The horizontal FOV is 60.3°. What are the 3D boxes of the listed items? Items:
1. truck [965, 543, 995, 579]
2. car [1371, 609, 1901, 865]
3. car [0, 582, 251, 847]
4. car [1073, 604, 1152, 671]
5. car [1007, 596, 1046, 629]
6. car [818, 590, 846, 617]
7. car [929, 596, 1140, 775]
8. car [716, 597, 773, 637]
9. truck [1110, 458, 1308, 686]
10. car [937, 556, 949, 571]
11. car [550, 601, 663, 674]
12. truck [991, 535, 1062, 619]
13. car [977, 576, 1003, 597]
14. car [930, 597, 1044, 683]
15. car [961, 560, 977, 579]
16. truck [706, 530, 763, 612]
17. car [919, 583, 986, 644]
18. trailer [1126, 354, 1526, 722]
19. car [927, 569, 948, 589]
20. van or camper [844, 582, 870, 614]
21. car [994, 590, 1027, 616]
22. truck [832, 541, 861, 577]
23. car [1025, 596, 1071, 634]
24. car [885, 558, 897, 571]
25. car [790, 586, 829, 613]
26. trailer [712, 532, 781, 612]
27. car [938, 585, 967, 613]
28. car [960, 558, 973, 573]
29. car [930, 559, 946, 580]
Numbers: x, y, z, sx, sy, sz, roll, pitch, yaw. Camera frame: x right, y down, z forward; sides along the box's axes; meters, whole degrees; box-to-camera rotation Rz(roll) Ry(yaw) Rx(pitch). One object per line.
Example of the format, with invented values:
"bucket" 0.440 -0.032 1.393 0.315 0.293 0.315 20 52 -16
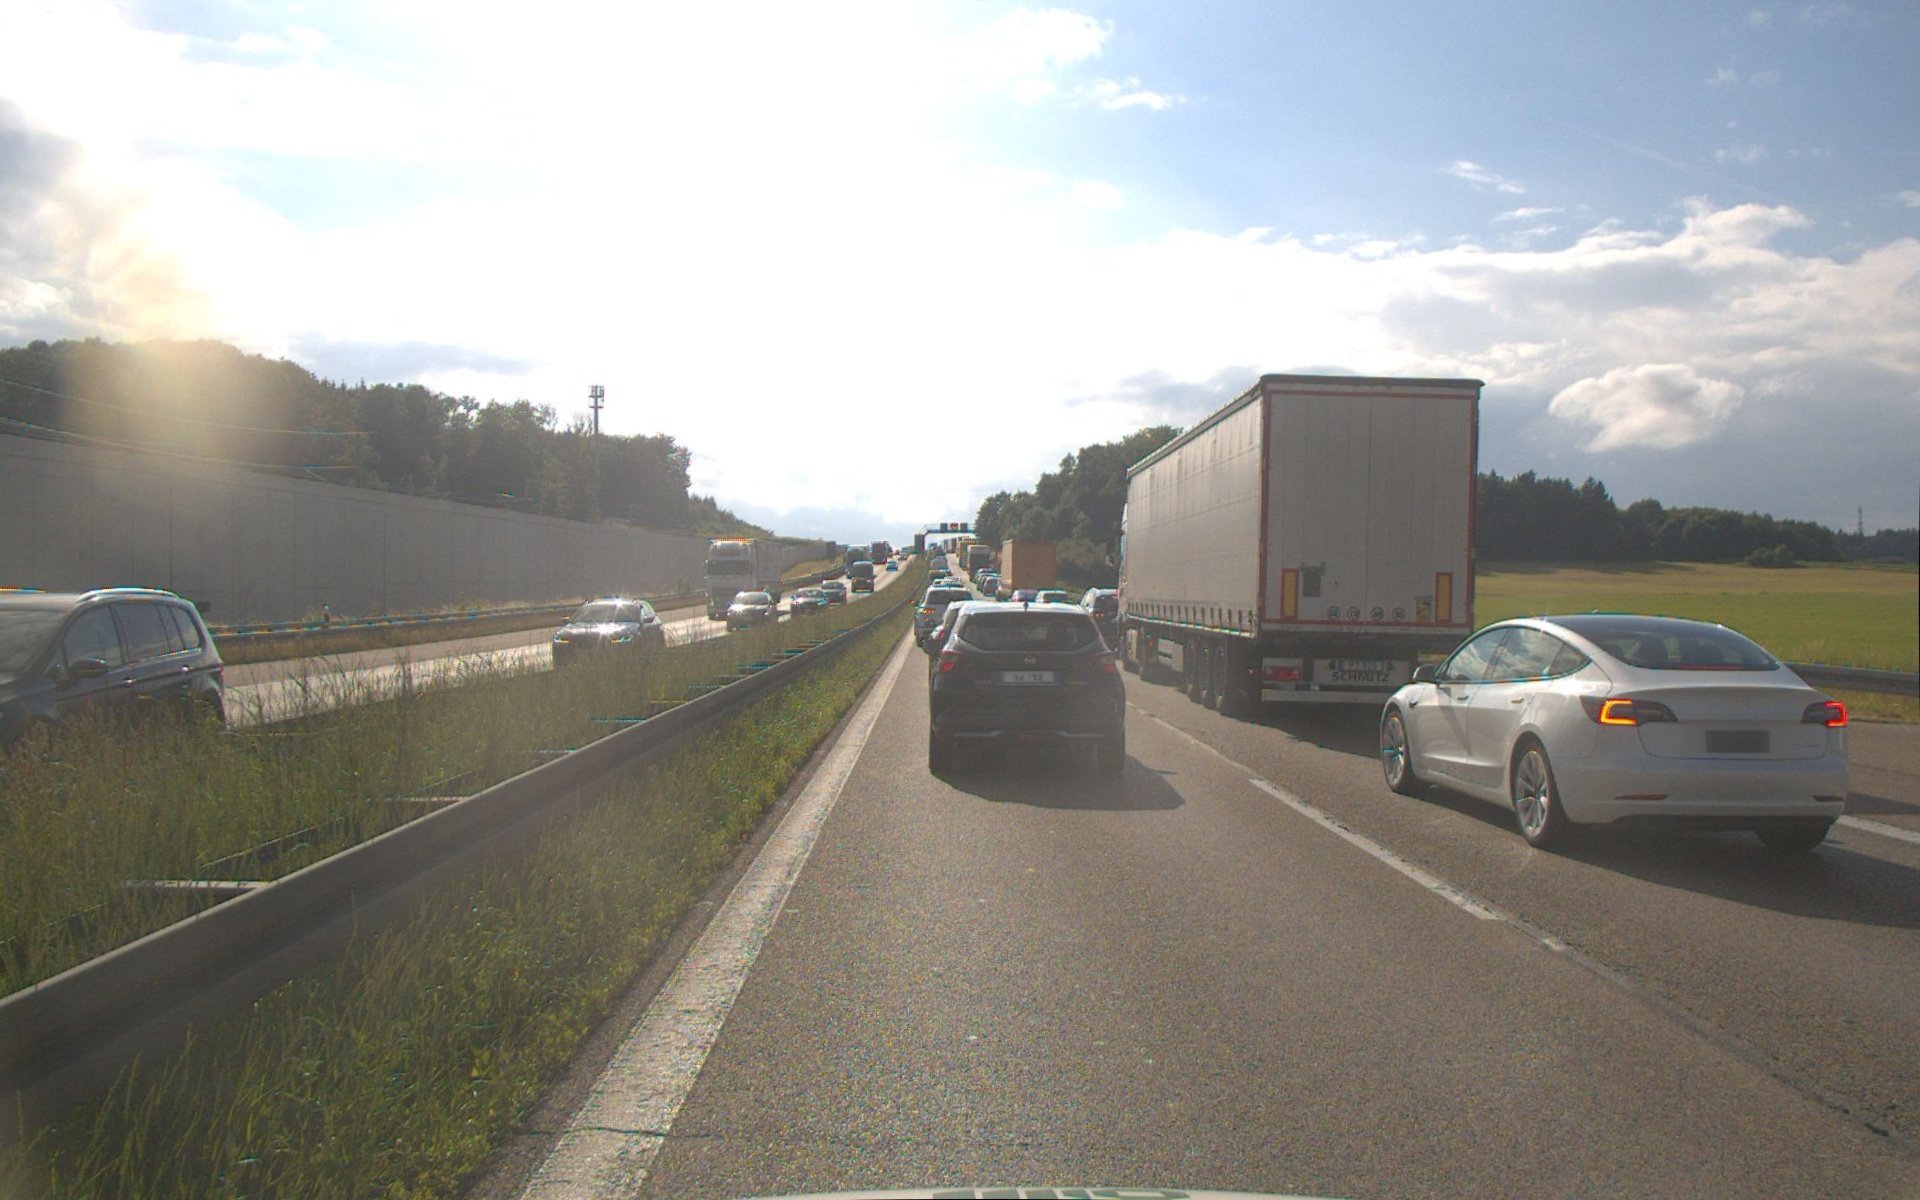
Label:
"truck" 2.678 -5.222 224.030 3.394 4.657 12.437 1 1 -2
"car" 4.411 0.792 11.637 1.753 1.418 4.434 0 0 -3
"car" -7.288 0.771 12.937 1.744 1.767 4.101 0 0 -1
"car" 3.883 0.914 42.664 1.663 1.639 4.436 0 0 0
"car" 3.423 0.635 85.910 1.835 1.673 4.232 0 0 -1
"car" -8.626 0.238 111.921 1.674 1.736 4.172 0 0 -2
"car" 0.595 0.709 15.775 1.737 1.476 4.231 0 0 -1
"car" -8.505 0.666 65.467 1.733 1.505 3.828 0 0 0
"truck" 4.754 -0.467 32.581 3.069 4.086 5.163 1 -1 0
"car" -2.537 -5.554 250.041 1.835 2.196 5.211 0 3 -1
"car" -7.847 0.800 37.073 1.663 1.525 4.426 0 0 -1
"truck" 3.842 -1.215 98.826 3.230 4.657 12.434 1 -1 -2
"car" 2.545 -1.139 140.927 1.836 1.673 4.229 0 1 -4
"car" 0.421 0.654 28.816 1.835 1.381 4.231 0 0 -1
"car" 1.025 -3.679 198.080 1.835 2.196 5.211 0 3 -1
"truck" -12.167 -1.520 89.618 2.332 4.254 5.931 -1 0 -1
"car" -0.234 0.382 47.491 1.835 1.673 4.231 0 0 -1
"trailer" 4.764 -0.575 25.171 3.066 4.081 13.364 1 -1 0
"car" -1.990 -1.862 144.943 1.835 1.673 4.231 0 1 -2
"van or camper" -9.671 -0.143 155.612 2.047 2.869 5.894 1 -1 -1
"car" 3.341 0.185 110.115 1.836 1.673 4.230 0 0 -3
"truck" -15.044 -5.415 220.636 3.230 4.657 12.438 0 0 -1
"car" 4.017 0.664 75.763 1.835 1.673 4.231 0 0 -1
"car" -10.470 -5.344 250.766 1.709 1.735 4.230 -4 1 -2
"car" -7.745 -0.019 85.347 1.706 1.381 4.231 0 0 -1
"trailer" -12.202 -1.496 95.603 2.341 4.255 13.201 -1 0 0
"car" -0.493 -0.107 105.060 1.835 1.673 4.232 0 1 -1
"car" 0.958 -5.337 253.013 1.835 2.196 5.211 0 3 -1
"car" -2.530 -3.481 189.172 1.835 2.196 5.211 0 3 -1
